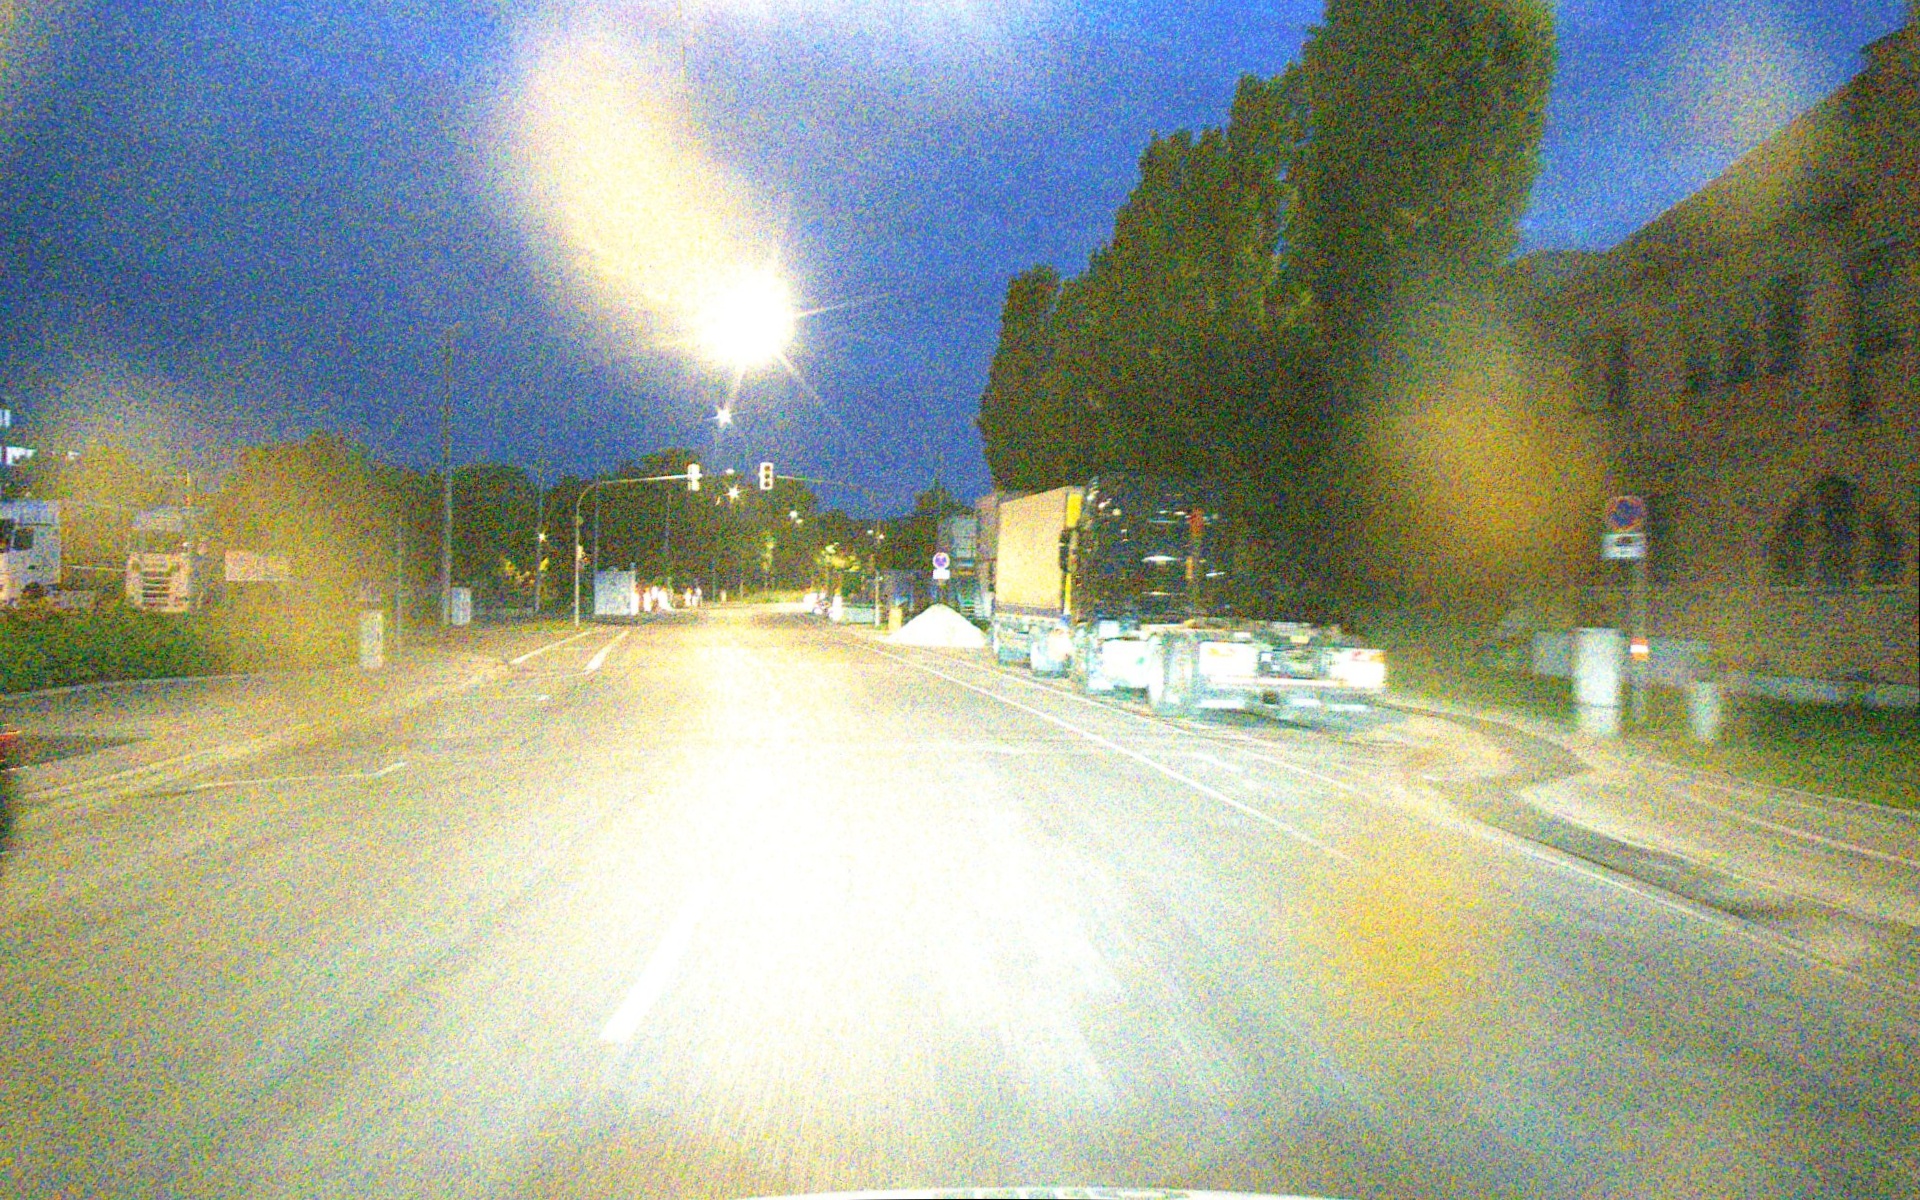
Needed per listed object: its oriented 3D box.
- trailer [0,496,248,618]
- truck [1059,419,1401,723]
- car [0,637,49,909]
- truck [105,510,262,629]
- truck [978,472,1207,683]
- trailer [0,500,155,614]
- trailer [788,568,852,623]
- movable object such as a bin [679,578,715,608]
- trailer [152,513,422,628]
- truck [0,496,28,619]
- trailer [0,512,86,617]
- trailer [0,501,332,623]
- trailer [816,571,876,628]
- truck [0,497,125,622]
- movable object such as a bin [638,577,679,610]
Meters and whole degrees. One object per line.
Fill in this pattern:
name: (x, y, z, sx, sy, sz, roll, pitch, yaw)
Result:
trailer: (-34.835, -1.575, 66.606, 2.993, 4.433, 15.015, 2, 0, 13)
truck: (3.735, -0.361, 25.641, 2.703, 3.849, 9.121, 0, 0, -8)
car: (-5.724, 0.905, 6.840, 1.779, 1.395, 4.356, 1, 0, -5)
truck: (-27.561, -1.048, 58.913, 2.993, 4.001, 4.507, 2, 0, 7)
truck: (2.515, -0.400, 35.485, 2.704, 3.849, 10.206, 0, 0, -8)
trailer: (-38.816, -1.730, 66.301, 2.993, 4.433, 15.015, 2, 0, 12)
trailer: (-8.895, -0.252, 104.641, 3.420, 3.275, 4.851, 2, -1, -11)
movable object such as a bin: (-22.006, -0.574, 138.405, 1.951, 2.418, 4.704, 0, 0, 4)
trailer: (-26.554, -1.053, 66.723, 2.993, 4.001, 15.014, 2, 0, 7)
truck: (-36.591, -1.601, 58.742, 2.993, 4.433, 5.570, 2, 0, 13)
trailer: (-42.467, -1.567, 67.803, 2.993, 4.433, 15.015, 2, 0, 10)
trailer: (-30.947, -1.315, 65.787, 2.993, 4.221, 15.014, 2, 0, 14)
trailer: (-6.241, -0.011, 90.015, 2.567, 2.895, 4.696, 2, -1, -11)
truck: (-32.727, -1.405, 58.583, 2.993, 4.221, 4.940, 2, 0, 14)
movable object such as a bin: (-22.864, -0.496, 125.630, 1.951, 2.418, 4.705, 0, 1, 4)
